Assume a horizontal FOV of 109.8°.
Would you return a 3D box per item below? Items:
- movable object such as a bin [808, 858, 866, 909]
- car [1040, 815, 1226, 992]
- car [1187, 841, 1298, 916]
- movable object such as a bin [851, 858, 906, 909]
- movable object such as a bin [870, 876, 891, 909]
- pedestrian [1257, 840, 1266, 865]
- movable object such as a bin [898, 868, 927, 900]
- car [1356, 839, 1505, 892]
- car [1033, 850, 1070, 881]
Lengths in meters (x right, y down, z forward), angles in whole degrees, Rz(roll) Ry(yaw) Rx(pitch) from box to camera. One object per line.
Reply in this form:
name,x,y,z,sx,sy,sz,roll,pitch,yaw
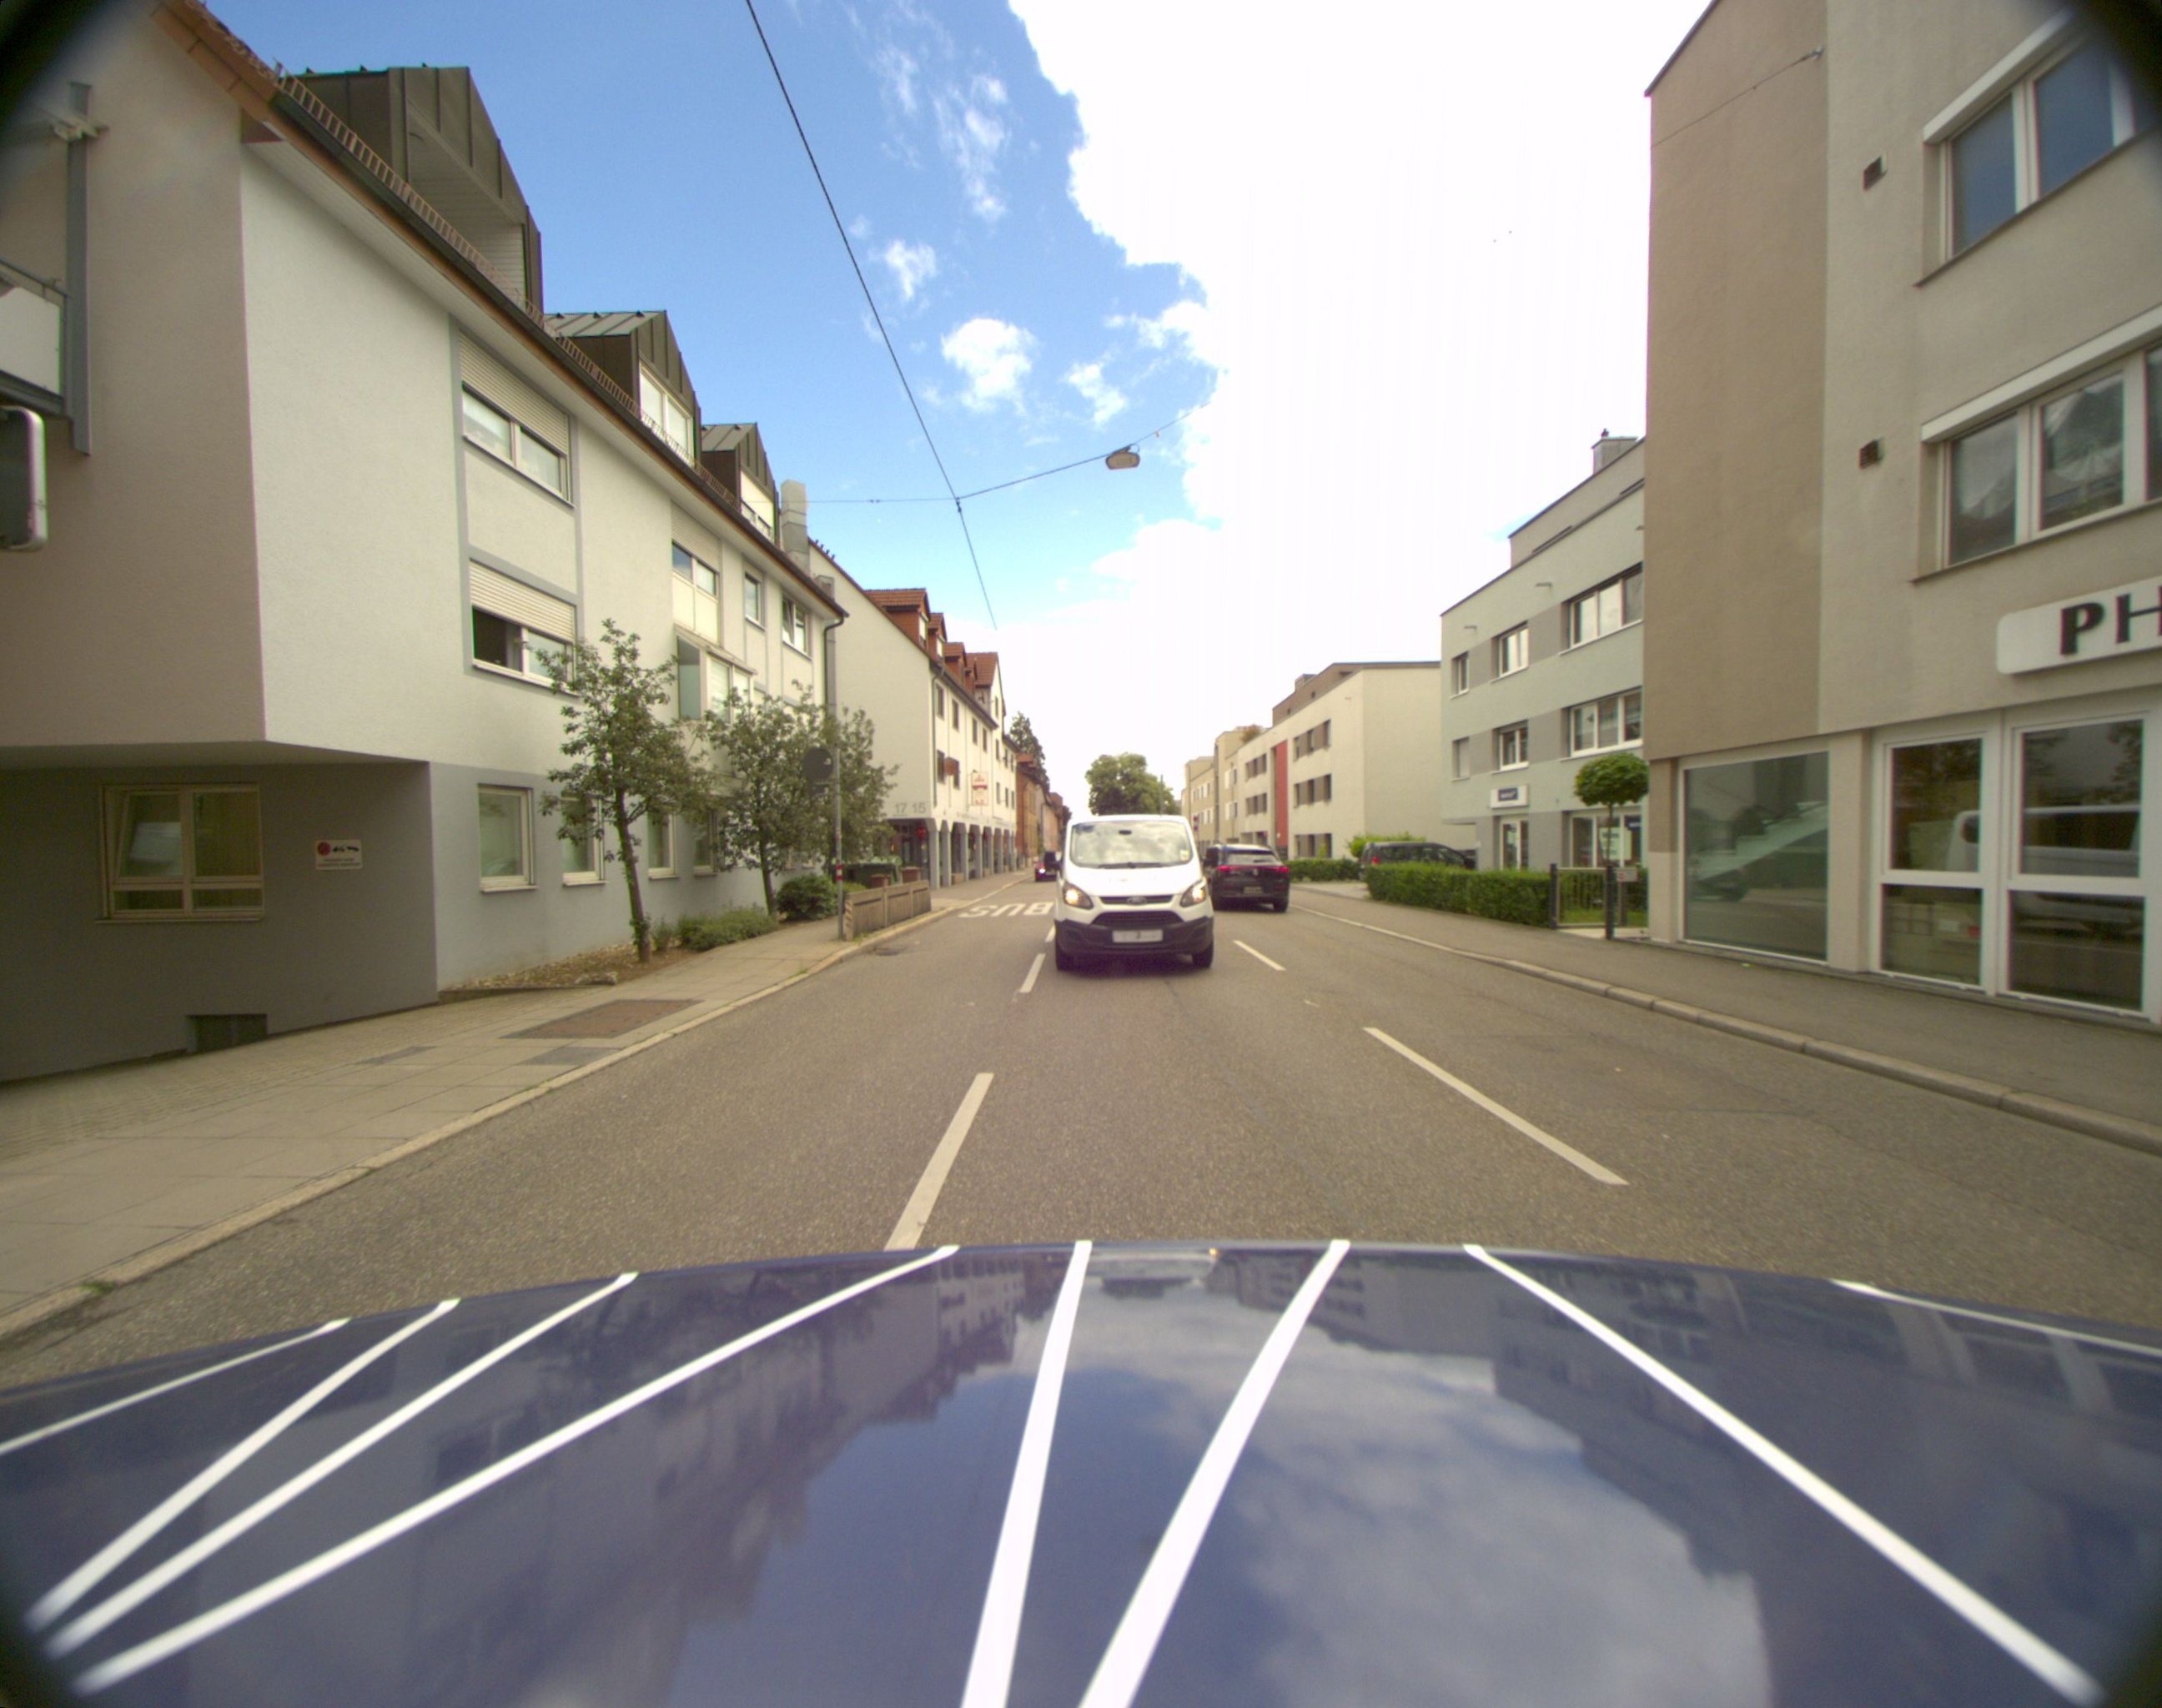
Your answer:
movable object such as a bin,-7.269,0.864,22.721,1.270,1.426,1.307,-1,1,2
car,0.608,0.530,11.040,2.062,1.946,5.060,-1,1,1
car,4.117,0.556,20.193,1.998,1.729,4.553,1,1,0
movable object such as a bin,-5.921,0.847,22.296,1.270,1.409,1.162,-1,1,2
movable object such as a bin,-5.668,1.085,21.481,0.431,0.915,0.465,-1,1,2
pedestrian,12.133,-0.087,51.087,0.519,1.633,0.641,-1,1,18
movable object such as a bin,-5.806,1.028,26.221,0.685,1.061,0.972,-1,1,5
car,11.535,0.350,25.279,4.172,1.658,1.725,-1,1,5
car,-1.517,0.572,40.671,1.755,1.485,3.985,-1,1,0
